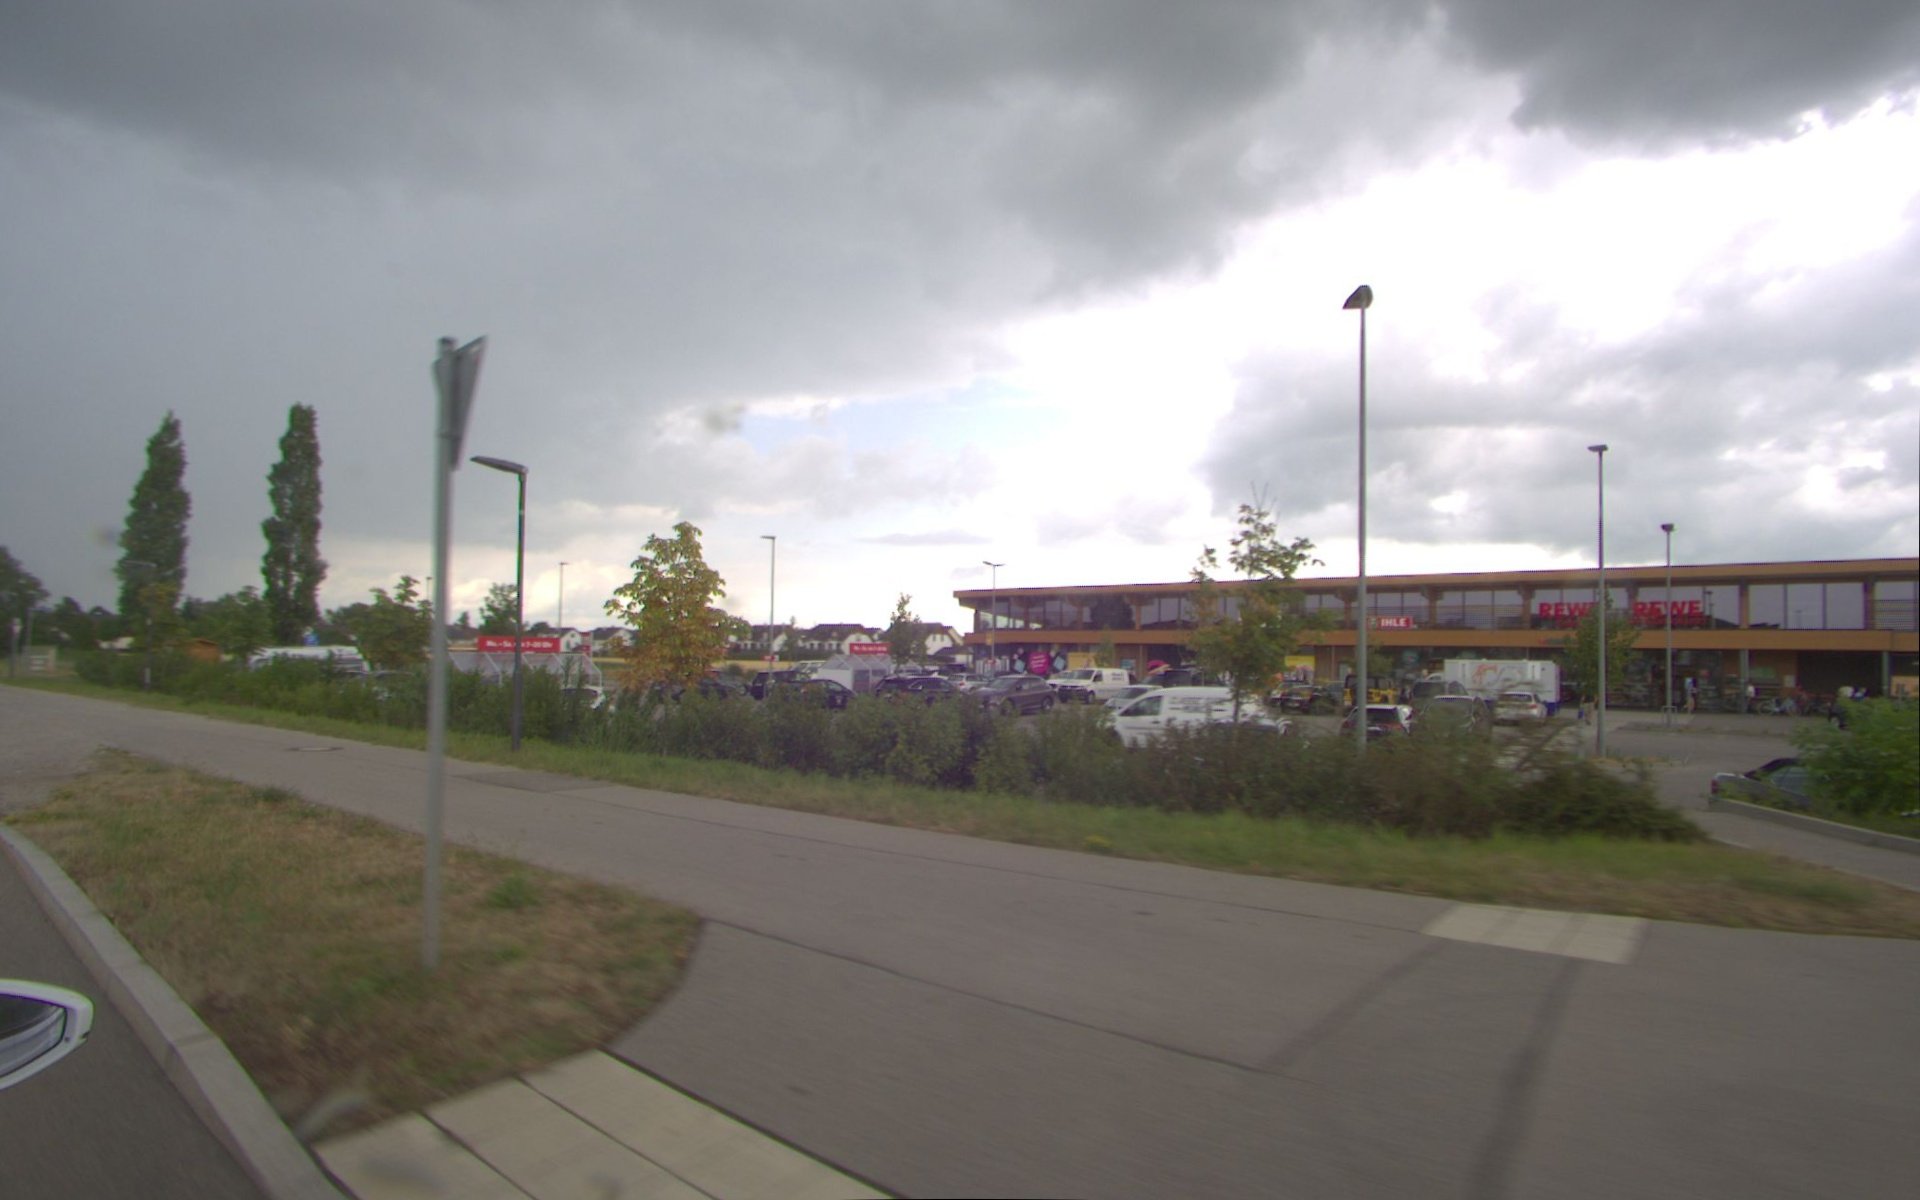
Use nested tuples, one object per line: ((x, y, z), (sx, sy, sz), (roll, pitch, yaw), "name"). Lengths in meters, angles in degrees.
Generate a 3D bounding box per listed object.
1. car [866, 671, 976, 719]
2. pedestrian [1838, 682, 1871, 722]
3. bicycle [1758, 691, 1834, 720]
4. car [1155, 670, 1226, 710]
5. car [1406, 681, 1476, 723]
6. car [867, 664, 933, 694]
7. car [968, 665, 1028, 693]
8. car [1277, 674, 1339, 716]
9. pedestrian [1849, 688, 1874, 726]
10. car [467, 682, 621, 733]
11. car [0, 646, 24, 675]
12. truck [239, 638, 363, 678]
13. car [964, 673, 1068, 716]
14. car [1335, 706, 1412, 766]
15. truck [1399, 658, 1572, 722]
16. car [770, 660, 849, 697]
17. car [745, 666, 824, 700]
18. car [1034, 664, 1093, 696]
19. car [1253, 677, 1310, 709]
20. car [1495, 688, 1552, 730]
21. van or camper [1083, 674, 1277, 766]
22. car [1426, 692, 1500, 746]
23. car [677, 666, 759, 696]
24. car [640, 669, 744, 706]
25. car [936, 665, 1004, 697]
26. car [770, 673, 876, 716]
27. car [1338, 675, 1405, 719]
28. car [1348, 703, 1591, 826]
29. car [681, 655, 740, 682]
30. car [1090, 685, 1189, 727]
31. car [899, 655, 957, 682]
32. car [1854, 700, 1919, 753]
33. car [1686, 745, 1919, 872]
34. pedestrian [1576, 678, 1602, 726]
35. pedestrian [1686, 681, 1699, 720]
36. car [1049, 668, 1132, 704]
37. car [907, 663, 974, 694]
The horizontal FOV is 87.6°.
((-1.471, 3.687, 39.237), (1.783, 1.726, 4.435), (-2, -5, 40), "car")
((44.505, 5.065, 49.824), (0.912, 1.920, 0.794), (1, -5, 17), "pedestrian")
((41.375, 5.212, 49.598), (2.836, 1.325, 0.973), (-2, -4, 39), "bicycle")
((11.917, 4.647, 51.690), (1.977, 1.859, 3.975), (-2, -7, 40), "car")
((21.055, 4.420, 43.770), (1.830, 1.745, 4.093), (-3, -6, 39), "car")
((-3.833, 5.085, 64.491), (1.979, 1.860, 3.967), (-2, -5, 43), "car")
((2.608, 5.291, 67.610), (1.979, 1.793, 3.968), (-2, -4, 42), "car")
((16.740, 4.516, 48.070), (1.749, 1.877, 3.978), (-1, -4, 36), "car")
((41.358, 4.881, 45.935), (0.795, 1.678, 0.745), (-1, -3, 39), "pedestrian")
((-13.516, 3.460, 32.718), (1.977, 1.457, 4.216), (-2, -4, 40), "car")
((-47.564, 2.893, 48.176), (1.416, 1.389, 3.515), (0, -4, 9), "car")
((-33.125, 2.964, 50.470), (1.974, 1.895, 4.785), (-2, -5, 36), "truck")
((2.493, 4.060, 43.594), (1.977, 1.685, 4.955), (-2, -4, 40), "car")
((11.431, 3.691, 27.551), (1.806, 1.414, 3.994), (0, -6, 25), "car")
((25.662, 4.331, 49.068), (7.163, 2.842, 2.960), (-1, -4, 36), "truck")
((-9.030, 4.683, 60.560), (1.970, 2.039, 5.105), (1, -2, 30), "car")
((-9.253, 4.393, 53.164), (1.696, 1.726, 3.972), (-2, -5, 40), "car")
((6.610, 5.104, 63.638), (1.776, 1.916, 4.089), (-2, -5, 39), "car")
((17.528, 5.033, 54.473), (1.746, 1.673, 3.870), (-2, -5, 38), "car")
((23.660, 4.521, 41.988), (1.708, 1.549, 3.979), (-1, -4, 35), "car")
((5.775, 3.075, 26.523), (4.742, 2.124, 1.756), (-2, -4, 35), "van or camper")
((16.912, 3.935, 33.573), (1.708, 1.572, 3.979), (-1, -4, 35), "car")
((-13.750, 4.583, 56.970), (1.748, 1.597, 4.293), (-2, -4, 42), "car")
((-12.929, 4.192, 48.569), (1.977, 1.685, 4.539), (-1, -4, 40), "car")
((0.635, 4.921, 61.078), (1.979, 1.860, 3.968), (-2, -5, 43), "car")
((-5.863, 4.021, 43.262), (1.977, 1.685, 4.386), (-1, -4, 40), "car")
((19.035, 4.438, 46.198), (1.752, 1.877, 3.972), (-2, -5, 40), "car")
((6.189, 1.956, 12.626), (1.548, 1.221, 3.761), (2, -5, 7), "car")
((-19.503, 5.352, 78.342), (1.980, 1.859, 3.969), (-2, -7, 44), "car")
((7.315, 4.218, 40.492), (1.882, 1.502, 4.755), (-2, -4, 40), "car")
((-2.275, 4.941, 71.982), (1.856, 1.863, 3.966), (-2, -4, 44), "car")
((32.091, 4.318, 34.461), (1.694, 1.587, 3.647), (-1, -4, 38), "car")
((12.946, 3.018, 15.011), (1.550, 1.389, 3.737), (1, -4, 3), "car")
((27.848, 4.494, 44.309), (0.919, 2.038, 0.801), (-1, -3, 35), "pedestrian")
((38.021, 5.212, 51.967), (0.519, 1.973, 0.574), (-1, -3, 39), "pedestrian")
((7.162, 4.658, 54.669), (1.977, 1.853, 5.266), (-3, -5, 40), "car")
((-1.194, 4.924, 63.173), (1.980, 1.860, 3.966), (-2, -4, 44), "car")
